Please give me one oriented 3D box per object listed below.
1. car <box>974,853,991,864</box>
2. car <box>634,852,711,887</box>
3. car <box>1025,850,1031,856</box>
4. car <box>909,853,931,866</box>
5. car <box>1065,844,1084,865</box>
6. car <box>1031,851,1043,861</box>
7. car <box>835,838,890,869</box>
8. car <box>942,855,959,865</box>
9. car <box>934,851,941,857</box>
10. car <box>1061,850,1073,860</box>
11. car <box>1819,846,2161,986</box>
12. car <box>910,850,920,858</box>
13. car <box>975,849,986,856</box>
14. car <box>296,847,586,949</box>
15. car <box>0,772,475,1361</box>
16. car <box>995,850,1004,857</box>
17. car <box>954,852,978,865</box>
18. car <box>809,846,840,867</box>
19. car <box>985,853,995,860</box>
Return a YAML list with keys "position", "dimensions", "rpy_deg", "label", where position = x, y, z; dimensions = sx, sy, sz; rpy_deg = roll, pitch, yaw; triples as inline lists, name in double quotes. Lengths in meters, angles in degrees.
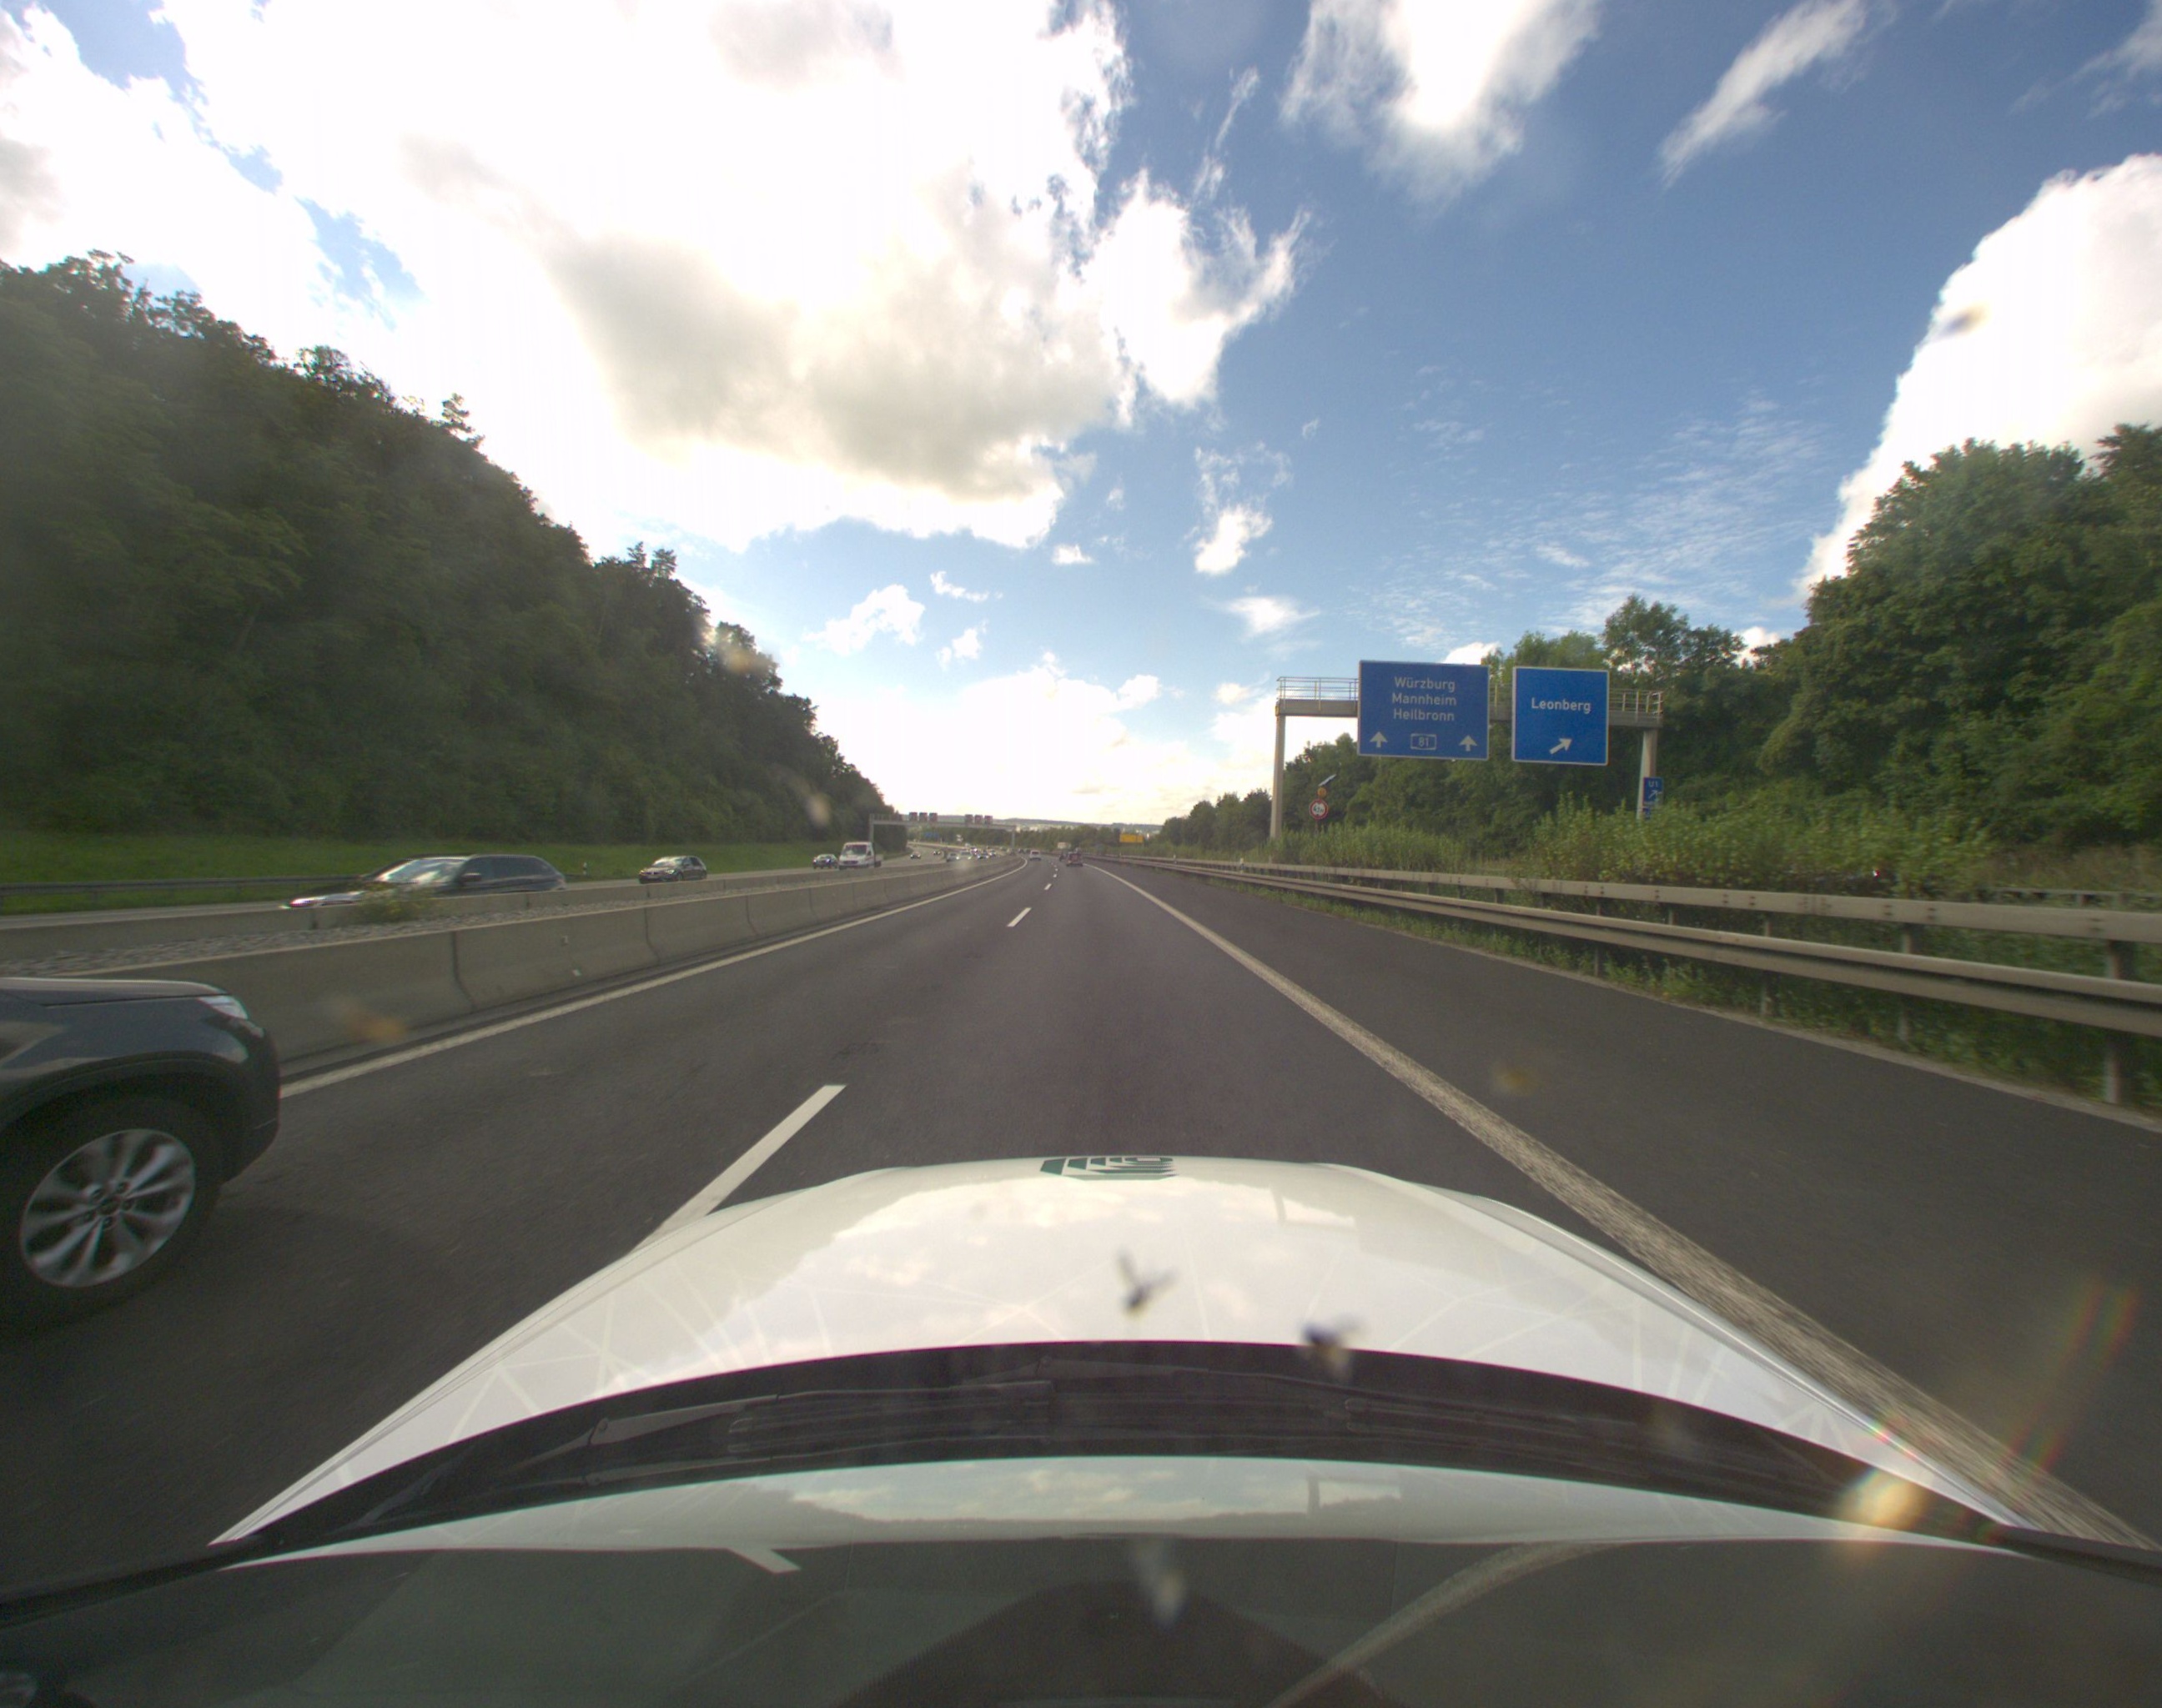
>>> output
- position: [-14.823, 0.708, 123.005]
  dimensions: [1.987, 1.627, 4.776]
  rpy_deg: [0, 0, 0]
  label: "car"
- position: [-19.802, 0.712, 39.703]
  dimensions: [1.721, 1.639, 4.188]
  rpy_deg: [0, 0, -2]
  label: "car"
- position: [-16.354, -0.286, 251.668]
  dimensions: [1.605, 1.558, 3.985]
  rpy_deg: [0, -1, -11]
  label: "car"
- position: [-19.175, 0.677, 97.034]
  dimensions: [1.909, 1.510, 3.998]
  rpy_deg: [0, 0, -1]
  label: "car"
- position: [-0.723, 0.031, 89.176]
  dimensions: [2.025, 2.151, 3.997]
  rpy_deg: [0, 1, -2]
  label: "car"
- position: [-7.564, 0.401, 140.803]
  dimensions: [1.990, 1.684, 3.994]
  rpy_deg: [0, -1, -4]
  label: "car"
- position: [-16.250, -0.036, 61.023]
  dimensions: [2.195, 2.130, 8.071]
  rpy_deg: [0, 0, -2]
  label: "car"
- position: [-19.233, 0.857, 120.151]
  dimensions: [1.910, 1.510, 3.996]
  rpy_deg: [0, 0, -2]
  label: "car"
- position: [-41.701, -0.048, 237.087]
  dimensions: [1.804, 1.574, 4.545]
  rpy_deg: [0, 0, -8]
  label: "car"
- position: [-2.326, 0.161, 131.786]
  dimensions: [1.585, 1.597, 4.088]
  rpy_deg: [0, 1, -6]
  label: "car"
- position: [12.594, 0.659, 10.538]
  dimensions: [1.779, 1.519, 4.672]
  rpy_deg: [0, 0, -2]
  label: "car"
- position: [-34.075, 0.037, 167.284]
  dimensions: [1.736, 1.510, 3.992]
  rpy_deg: [0, 0, -6]
  label: "car"
- position: [-24.363, -0.396, 197.391]
  dimensions: [1.988, 1.539, 4.736]
  rpy_deg: [0, 0, -2]
  label: "car"
- position: [-11.476, 0.692, 15.112]
  dimensions: [1.795, 1.606, 4.483]
  rpy_deg: [0, 0, 1]
  label: "car"
- position: [-4.135, 0.636, 1.606]
  dimensions: [1.810, 1.736, 5.190]
  rpy_deg: [0, 0, 3]
  label: "car"
- position: [-19.244, -0.132, 192.956]
  dimensions: [1.871, 1.697, 4.311]
  rpy_deg: [0, 0, -2]
  label: "car"
- position: [-13.817, 0.554, 97.903]
  dimensions: [1.976, 1.509, 5.961]
  rpy_deg: [0, 0, 0]
  label: "car"
- position: [-25.608, 0.269, 81.433]
  dimensions: [1.988, 2.034, 3.998]
  rpy_deg: [0, 0, -1]
  label: "car"
- position: [-19.498, 0.455, 174.301]
  dimensions: [1.756, 1.460, 4.292]
  rpy_deg: [0, 0, -2]
  label: "car"
